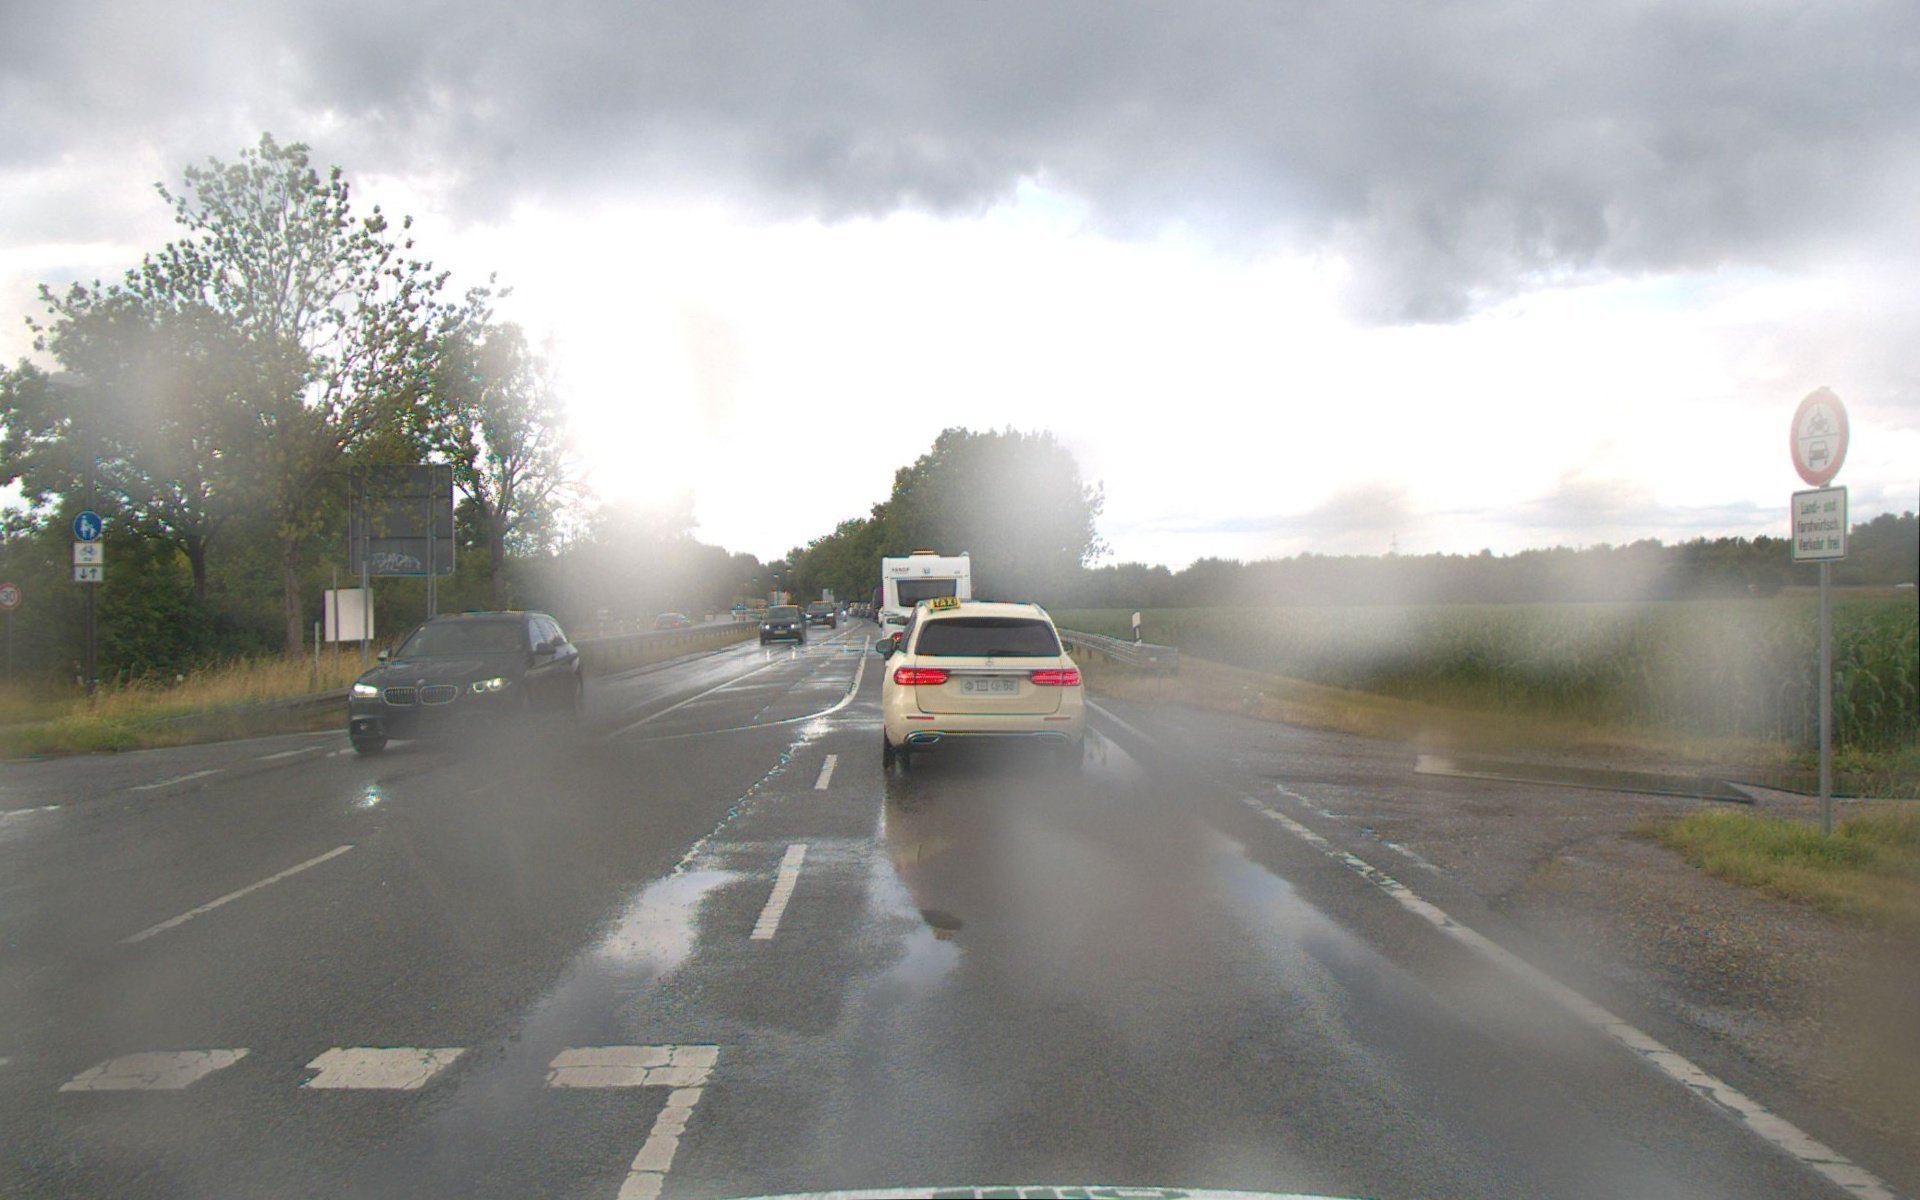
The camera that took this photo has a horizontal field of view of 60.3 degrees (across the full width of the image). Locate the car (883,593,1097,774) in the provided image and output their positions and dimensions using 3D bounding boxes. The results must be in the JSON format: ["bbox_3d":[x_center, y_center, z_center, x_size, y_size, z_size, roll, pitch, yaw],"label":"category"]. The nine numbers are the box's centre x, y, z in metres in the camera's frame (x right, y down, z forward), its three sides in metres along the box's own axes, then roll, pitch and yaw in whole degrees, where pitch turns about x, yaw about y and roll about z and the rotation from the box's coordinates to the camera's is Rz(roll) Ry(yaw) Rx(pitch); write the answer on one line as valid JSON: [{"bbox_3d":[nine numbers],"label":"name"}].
[{"bbox_3d":[0.218,0.697,15.860,1.788,1.511,4.144,0,0,-1],"label":"car"}]

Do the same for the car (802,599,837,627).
[{"bbox_3d":[-8.627,0.794,101.846,1.904,1.608,4.442,-1,0,-1],"label":"car"}]

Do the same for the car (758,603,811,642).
[{"bbox_3d":[-6.966,0.866,66.058,1.677,1.430,3.813,-2,0,0],"label":"car"}]

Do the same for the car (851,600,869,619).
[{"bbox_3d":[-11.392,1.048,187.914,1.954,2.049,3.998,-1,0,-3],"label":"car"}]

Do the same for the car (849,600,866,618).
[{"bbox_3d":[-12.099,1.078,195.249,1.954,2.087,3.997,-1,0,-3],"label":"car"}]

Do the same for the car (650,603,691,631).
[{"bbox_3d":[-18.606,1.094,106.433,1.953,1.680,3.999,-2,0,-1],"label":"car"}]

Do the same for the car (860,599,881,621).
[{"bbox_3d":[-8.747,0.961,161.924,1.954,2.049,3.996,-1,0,-5],"label":"car"}]

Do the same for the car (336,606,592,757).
[{"bbox_3d":[-5.598,0.845,19.251,1.730,1.463,4.411,-3,0,-2],"label":"car"}]

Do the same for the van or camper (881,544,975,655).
[{"bbox_3d":[-0.909,-0.024,44.196,2.303,2.727,5.766,-1,0,-2],"label":"van or camper"}]

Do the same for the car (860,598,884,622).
[{"bbox_3d":[-7.743,0.838,145.275,1.955,2.049,3.995,-1,0,-5],"label":"car"}]

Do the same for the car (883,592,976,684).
[{"bbox_3d":[-0.603,0.655,30.752,1.594,1.556,3.931,-1,0,-2],"label":"car"}]

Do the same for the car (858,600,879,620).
[{"bbox_3d":[-9.600,1.040,172.741,1.955,2.049,3.994,-1,0,-7],"label":"car"}]

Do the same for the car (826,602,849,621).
[{"bbox_3d":[-10.587,0.996,143.580,1.733,1.550,4.140,-3,0,-1],"label":"car"}]

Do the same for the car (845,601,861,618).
[{"bbox_3d":[-13.173,1.123,203.615,1.954,2.049,3.996,-1,0,-4],"label":"car"}]

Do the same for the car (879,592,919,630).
[{"bbox_3d":[-3.761,0.675,100.885,2.202,2.237,5.407,-1,0,-4],"label":"car"}]
